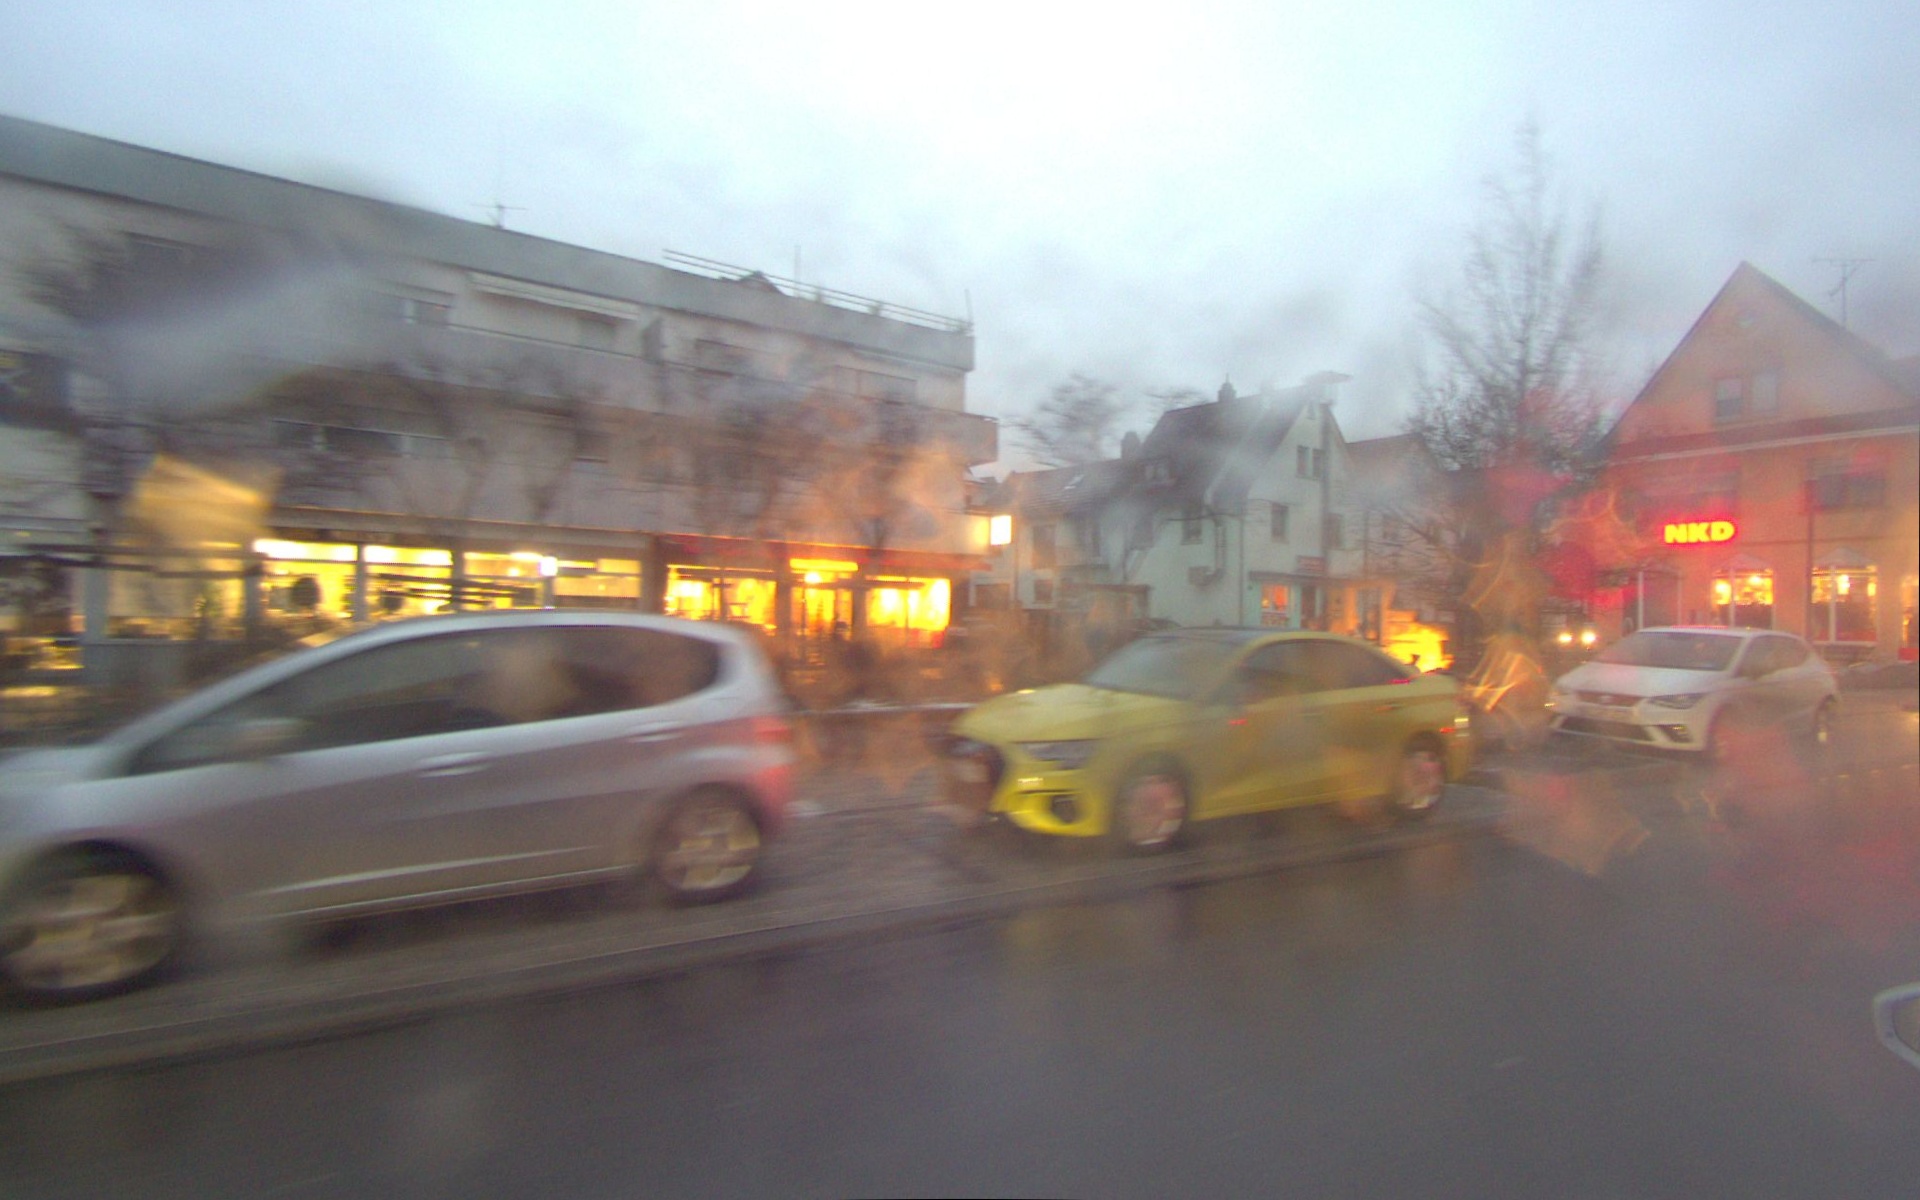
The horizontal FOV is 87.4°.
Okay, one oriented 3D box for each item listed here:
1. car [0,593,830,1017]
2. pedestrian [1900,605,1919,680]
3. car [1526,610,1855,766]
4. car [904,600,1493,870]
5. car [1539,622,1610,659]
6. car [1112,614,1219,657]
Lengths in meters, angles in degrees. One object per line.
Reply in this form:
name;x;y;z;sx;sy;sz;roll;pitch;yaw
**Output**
car;-2.733;0.777;5.175;3.732;1.536;1.683;1;0;-33
pedestrian;22.818;1.011;23.881;0.678;1.765;0.583;1;-1;-37
car;8.734;0.942;11.951;3.952;1.536;1.662;1;1;-30
car;1.889;0.832;7.649;4.288;1.536;1.741;1;1;-29
car;30.854;2.009;50.390;3.966;1.743;1.834;2;0;-39
car;7.871;1.333;38.673;1.603;1.539;3.855;1;-1;-42
